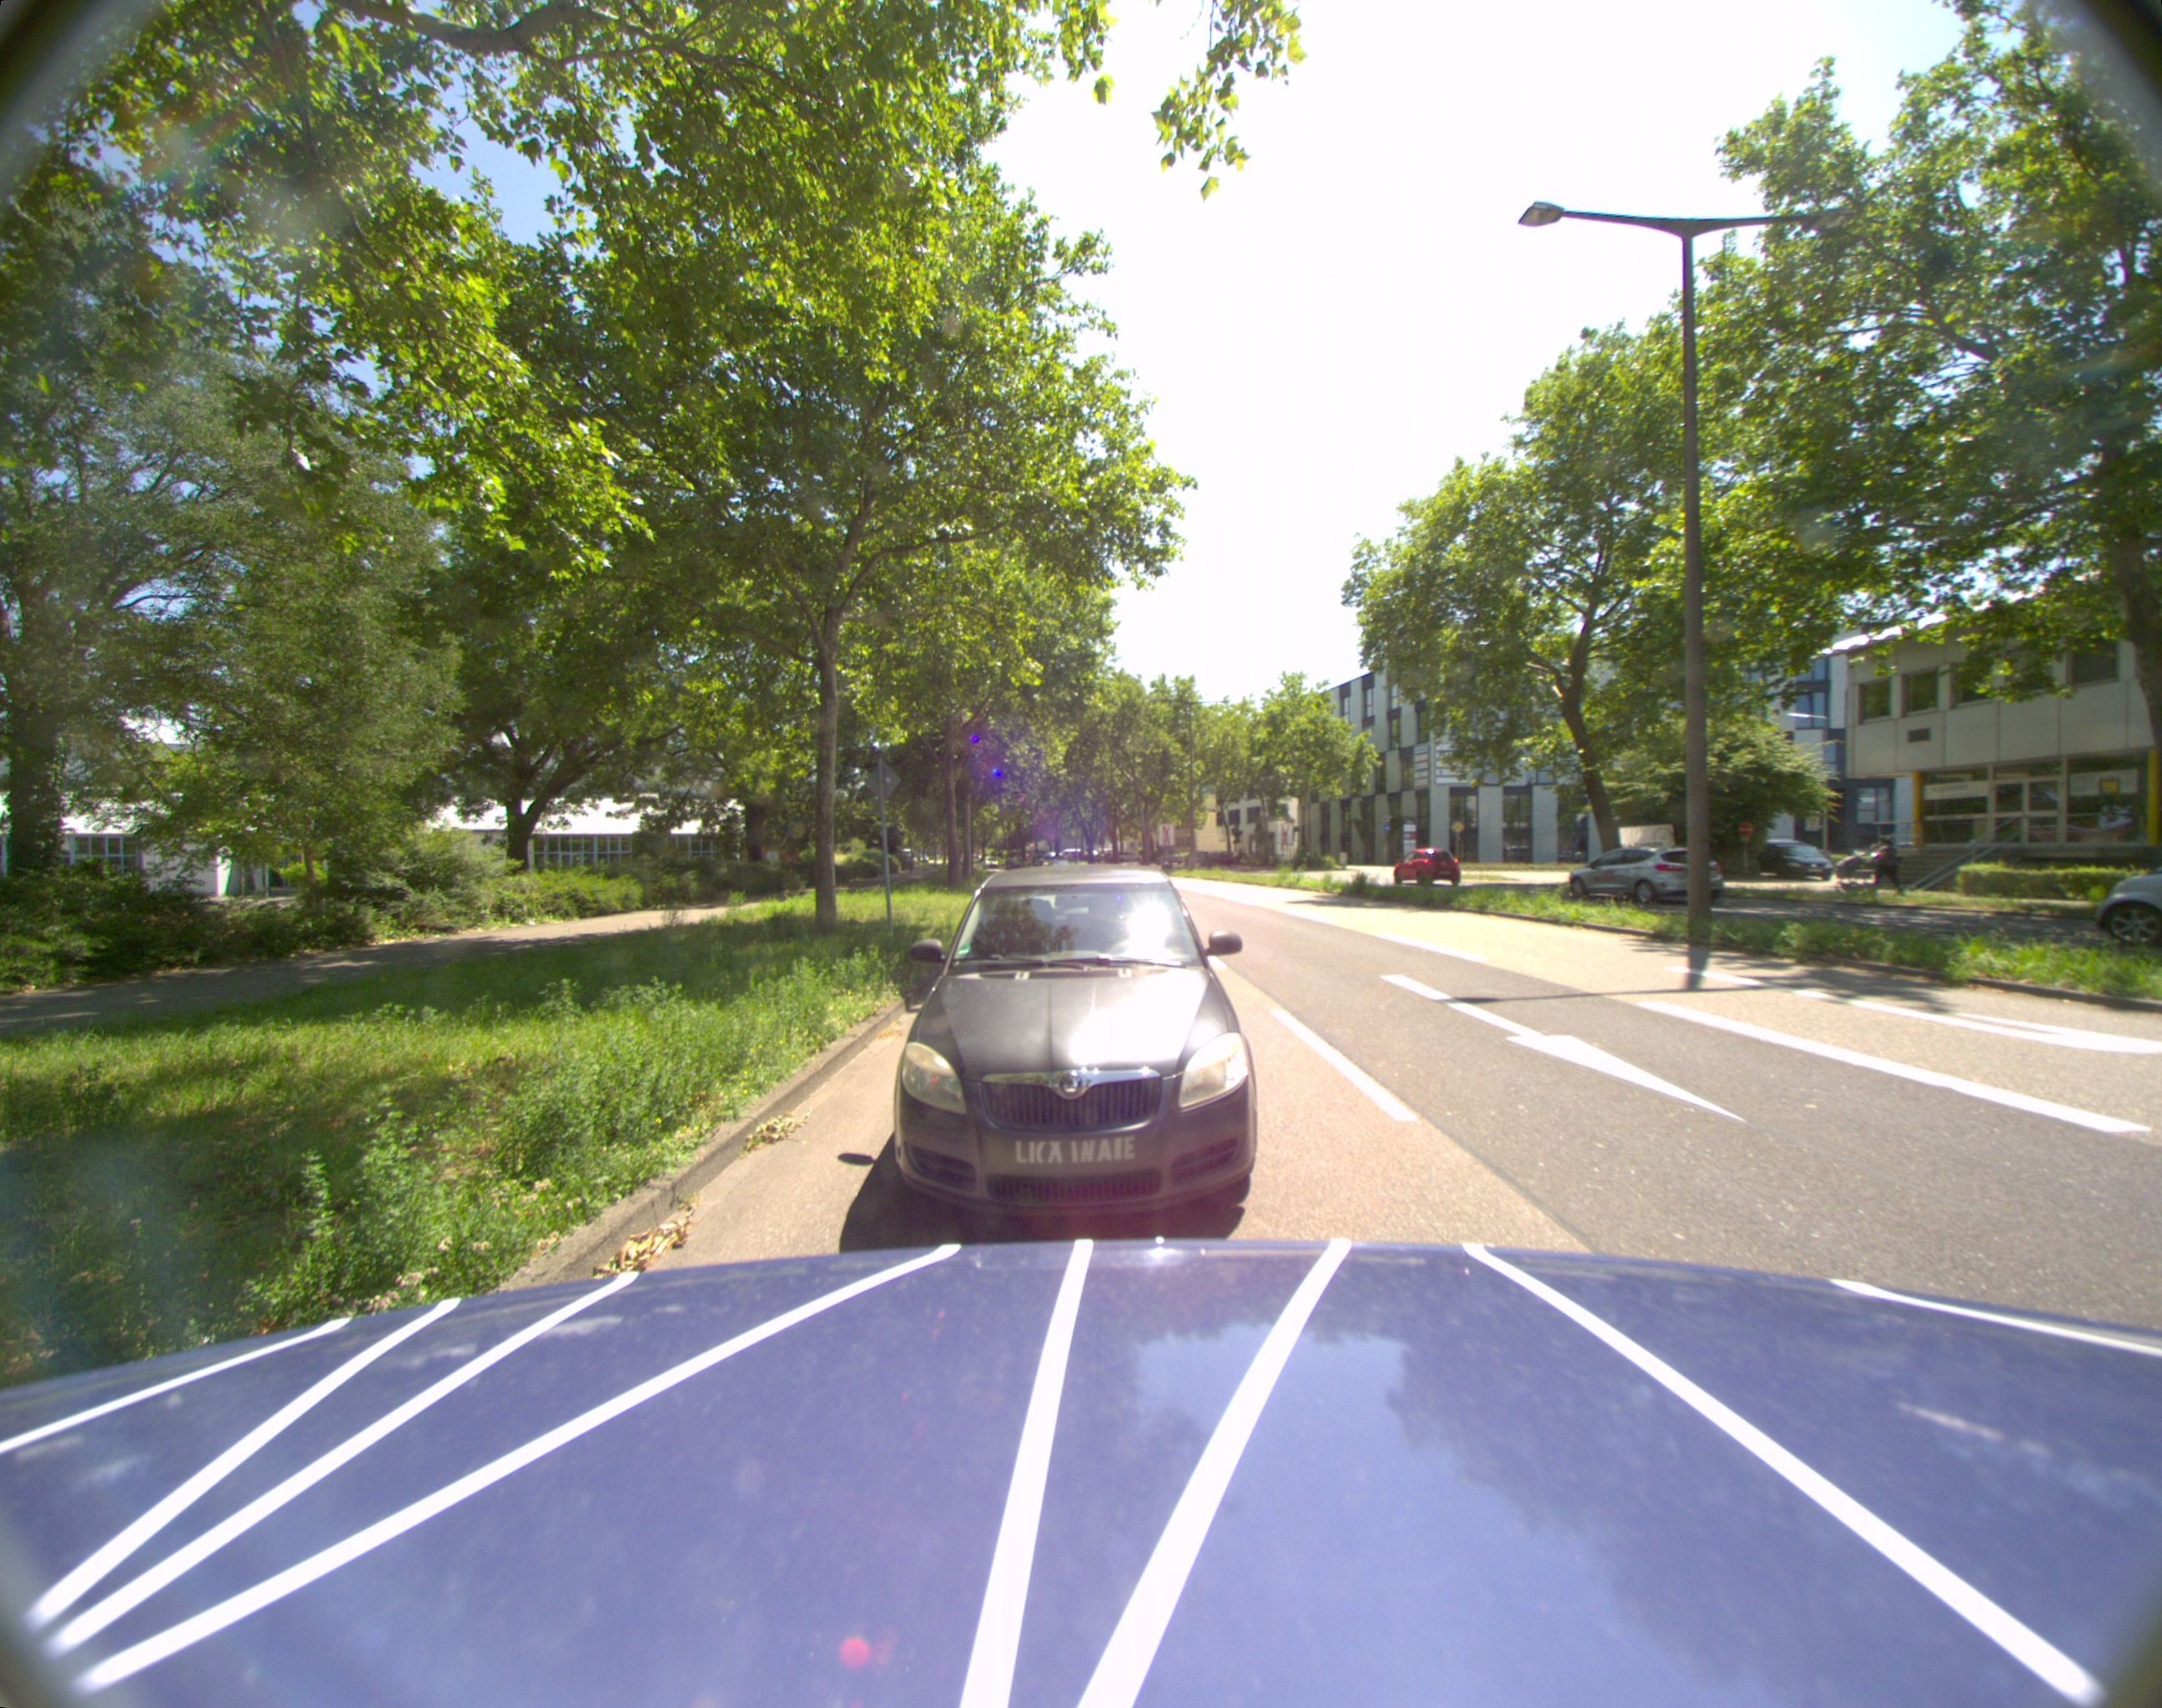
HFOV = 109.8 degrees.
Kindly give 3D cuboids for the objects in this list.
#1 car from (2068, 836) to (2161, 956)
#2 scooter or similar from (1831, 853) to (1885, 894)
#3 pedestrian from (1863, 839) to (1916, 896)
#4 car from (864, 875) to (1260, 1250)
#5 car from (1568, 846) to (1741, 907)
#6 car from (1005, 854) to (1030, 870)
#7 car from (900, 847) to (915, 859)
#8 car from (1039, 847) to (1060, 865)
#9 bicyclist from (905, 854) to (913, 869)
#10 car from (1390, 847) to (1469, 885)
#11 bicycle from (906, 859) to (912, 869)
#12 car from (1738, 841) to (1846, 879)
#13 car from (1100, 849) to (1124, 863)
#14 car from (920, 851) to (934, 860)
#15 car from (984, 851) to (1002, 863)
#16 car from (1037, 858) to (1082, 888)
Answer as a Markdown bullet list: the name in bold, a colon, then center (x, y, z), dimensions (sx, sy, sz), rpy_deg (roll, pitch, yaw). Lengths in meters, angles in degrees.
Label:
- **car**: center (14.541, 0.528, 9.149), dimensions (1.537, 1.519, 2.852), rpy_deg (-1, 0, -6)
- **scooter or similar**: center (22.459, 0.557, 21.965), dimensions (0.680, 1.157, 0.859), rpy_deg (-1, 1, -1)
- **pedestrian**: center (22.466, 0.379, 21.129), dimensions (0.643, 1.551, 0.791), rpy_deg (-1, 1, -1)
- **car**: center (-0.054, 0.948, 5.175), dimensions (1.654, 1.453, 3.865), rpy_deg (-1, 0, 1)
- **car**: center (14.884, 0.521, 19.996), dimensions (1.756, 1.435, 3.672), rpy_deg (-1, 0, 0)
- **car**: center (-5.884, 0.714, 70.658), dimensions (1.878, 1.448, 3.786), rpy_deg (-2, 0, 1)
- **car**: center (-38.956, -0.320, 170.705), dimensions (2.922, 2.639, 6.356), rpy_deg (-1, 1, -17)
- **car**: center (-3.115, 0.180, 76.323), dimensions (1.859, 1.745, 4.648), rpy_deg (-1, 0, 0)
- **bicyclist**: center (-14.879, 0.626, 65.778), dimensions (0.601, 1.331, 0.665), rpy_deg (-1, 1, -11)
- **car**: center (14.515, 0.467, 31.840), dimensions (1.676, 1.453, 3.530), rpy_deg (-1, 0, 0)
- **bicycle**: center (-14.887, 0.856, 65.716), dimensions (0.465, 0.760, 1.666), rpy_deg (-1, 0, -11)
- **car**: center (32.822, 0.239, 35.194), dimensions (1.819, 1.638, 3.528), rpy_deg (-2, 1, 4)
- **car**: center (3.801, 0.235, 94.518), dimensions (1.956, 1.600, 3.995), rpy_deg (-1, 0, -13)
- **car**: center (-30.649, 0.329, 151.003), dimensions (2.002, 1.783, 3.992), rpy_deg (-1, 0, -21)
- **car**: center (-10.830, 0.403, 93.677), dimensions (1.625, 1.437, 3.646), rpy_deg (-1, 0, -16)
- **car**: center (-1.140, 0.920, 37.942), dimensions (1.792, 1.325, 3.740), rpy_deg (-2, 0, -8)
